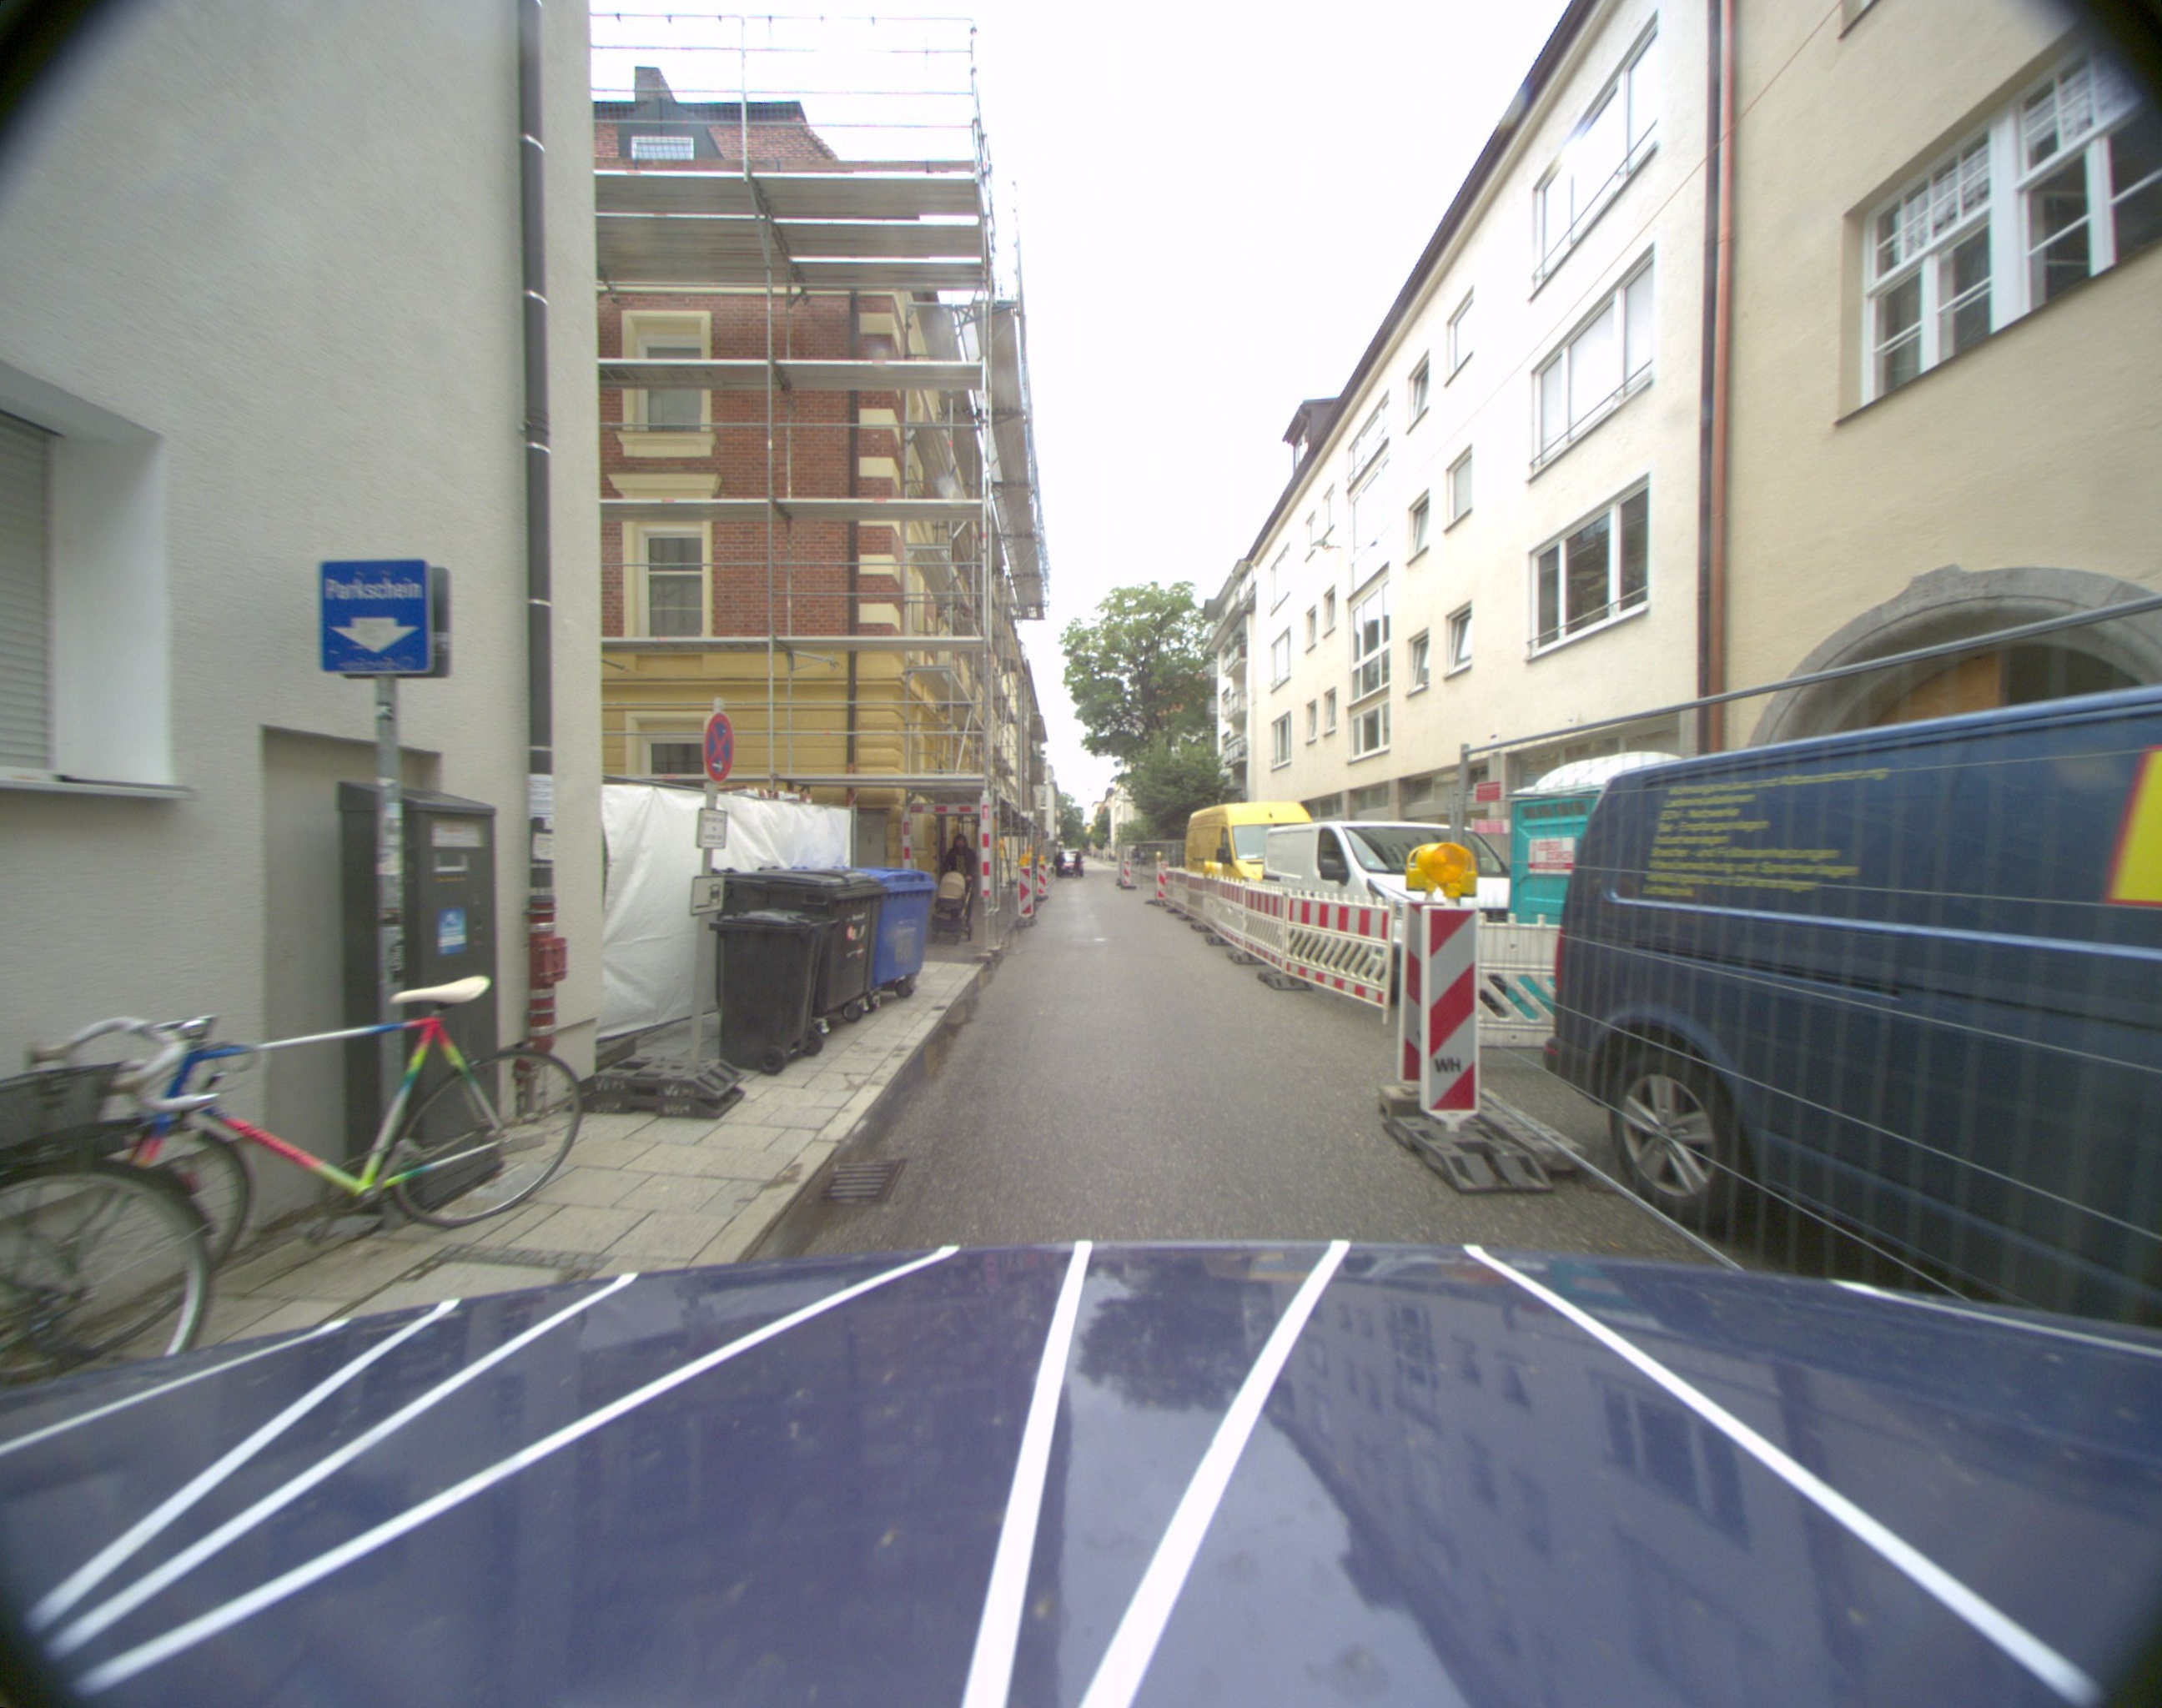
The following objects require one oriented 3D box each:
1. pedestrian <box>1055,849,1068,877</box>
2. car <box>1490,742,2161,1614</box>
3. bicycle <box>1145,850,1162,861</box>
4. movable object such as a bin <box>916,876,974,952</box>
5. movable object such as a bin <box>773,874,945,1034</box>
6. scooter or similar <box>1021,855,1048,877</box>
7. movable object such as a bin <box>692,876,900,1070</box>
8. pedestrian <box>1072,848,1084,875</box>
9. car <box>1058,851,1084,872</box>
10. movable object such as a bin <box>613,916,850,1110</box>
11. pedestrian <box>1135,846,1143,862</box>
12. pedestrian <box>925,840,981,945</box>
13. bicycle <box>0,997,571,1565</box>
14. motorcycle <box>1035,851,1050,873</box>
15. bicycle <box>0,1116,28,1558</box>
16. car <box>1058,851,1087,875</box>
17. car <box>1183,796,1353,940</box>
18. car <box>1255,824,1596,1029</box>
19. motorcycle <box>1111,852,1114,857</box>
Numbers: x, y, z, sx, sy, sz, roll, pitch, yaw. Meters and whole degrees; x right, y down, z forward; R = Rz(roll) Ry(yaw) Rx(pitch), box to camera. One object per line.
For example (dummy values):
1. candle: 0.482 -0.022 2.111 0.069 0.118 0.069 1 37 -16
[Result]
1. pedestrian: -1.189 0.540 46.129 0.660 1.676 0.586 -2 1 5
2. car: 3.223 0.722 1.523 1.731 1.886 5.507 2 1 -1
3. bicycle: 8.087 0.177 85.056 1.811 1.253 0.432 0 1 -2
4. movable object such as a bin: -2.242 0.969 12.599 0.731 1.134 0.988 4 1 -2
5. movable object such as a bin: -2.144 0.914 7.536 1.088 1.338 1.319 3 1 12
6. scooter or similar: -2.574 0.678 42.423 0.493 1.177 1.612 4 1 40
7. movable object such as a bin: -2.295 0.907 6.296 1.128 1.338 1.172 4 1 7
8. pedestrian: -0.207 0.484 47.834 0.660 1.676 0.546 -2 1 5
9. car: -0.719 0.543 56.909 1.772 1.453 4.380 -2 0 1
10. movable object such as a bin: -2.392 1.053 5.301 1.213 1.089 0.790 4 1 7
11. pedestrian: 6.317 0.001 82.975 0.722 1.718 0.841 -4 1 0
12. pedestrian: -2.220 0.645 13.297 0.731 1.742 0.988 4 1 -1
13. bicycle: -2.352 1.075 2.364 0.281 0.986 1.435 3 1 13
14. motorcycle: -2.627 0.519 52.139 0.807 1.415 1.932 5 1 0
15. bicycle: -2.480 1.079 1.022 0.405 0.986 1.328 3 1 -9
16. car: -0.558 0.601 51.670 1.776 1.515 4.066 -2 0 2
17. car: 3.816 0.231 16.996 1.999 2.564 6.735 0 0 -1
18. car: 3.791 0.662 9.531 1.922 1.886 4.789 2 1 -2
19. motorcycle: 5.614 0.083 136.237 0.324 0.968 1.960 -1 1 0
